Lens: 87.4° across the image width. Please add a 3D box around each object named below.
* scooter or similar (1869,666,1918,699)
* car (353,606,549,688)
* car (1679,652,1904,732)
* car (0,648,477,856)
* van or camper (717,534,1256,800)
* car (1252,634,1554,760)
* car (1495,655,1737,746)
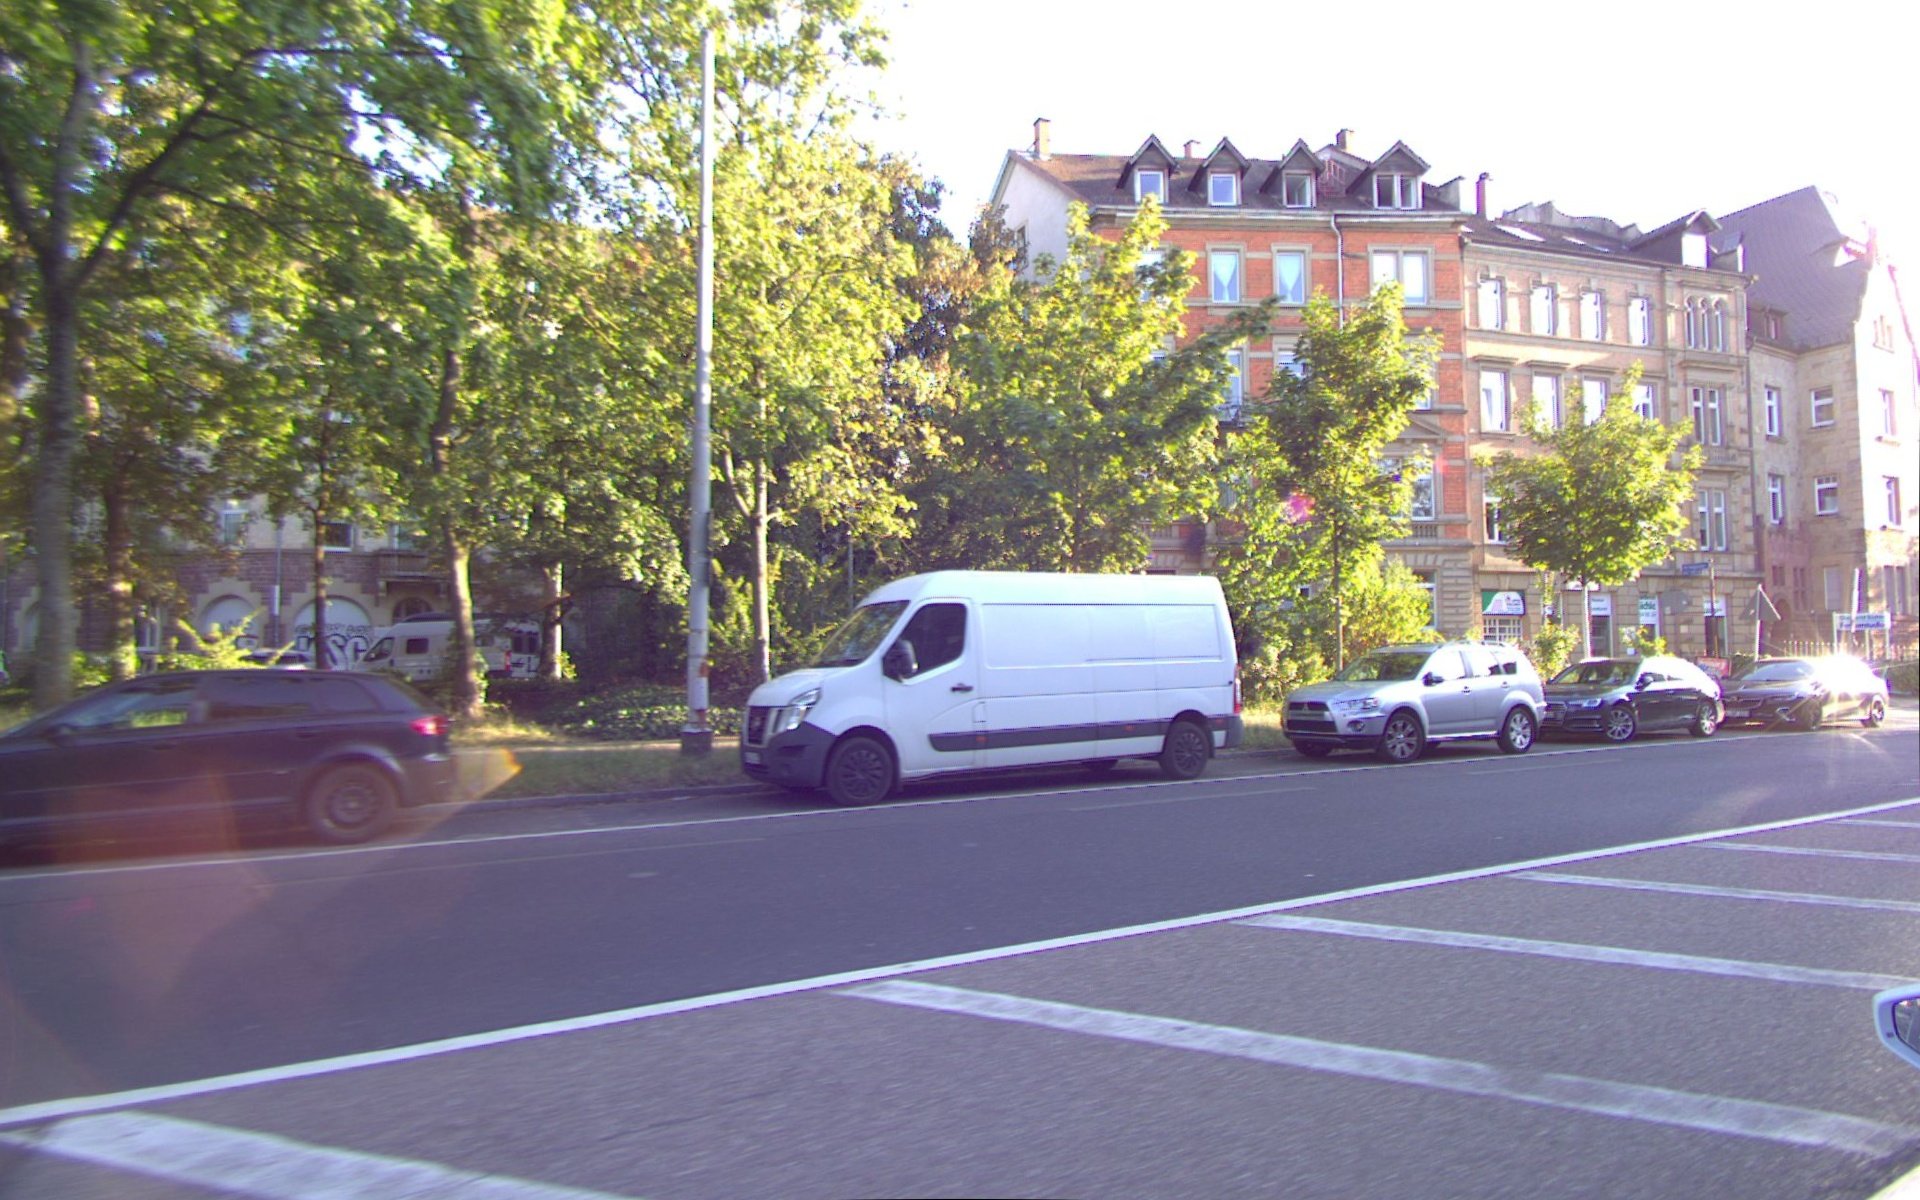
[{"bbox_3d":[30.279,2.674,32.577,1.095,1.070,0.288,-2,-4,14],"label":"scooter or similar"},{"bbox_3d":[-16.226,1.530,32.219,5.128,2.518,2.276,-1,-3,5],"label":"car"},{"bbox_3d":[17.335,1.852,20.909,4.771,1.502,1.985,2,-4,-29],"label":"car"},{"bbox_3d":[-6.314,1.141,8.179,4.192,1.447,1.622,2,-5,-30],"label":"car"},{"bbox_3d":[0.474,0.776,11.940,6.230,2.500,2.082,2,-5,-30],"label":"van or camper"},{"bbox_3d":[6.770,1.420,15.267,4.516,1.666,1.858,2,-5,-29],"label":"car"},{"bbox_3d":[11.896,1.731,18.149,4.569,1.464,1.729,2,-4,-29],"label":"car"}]
